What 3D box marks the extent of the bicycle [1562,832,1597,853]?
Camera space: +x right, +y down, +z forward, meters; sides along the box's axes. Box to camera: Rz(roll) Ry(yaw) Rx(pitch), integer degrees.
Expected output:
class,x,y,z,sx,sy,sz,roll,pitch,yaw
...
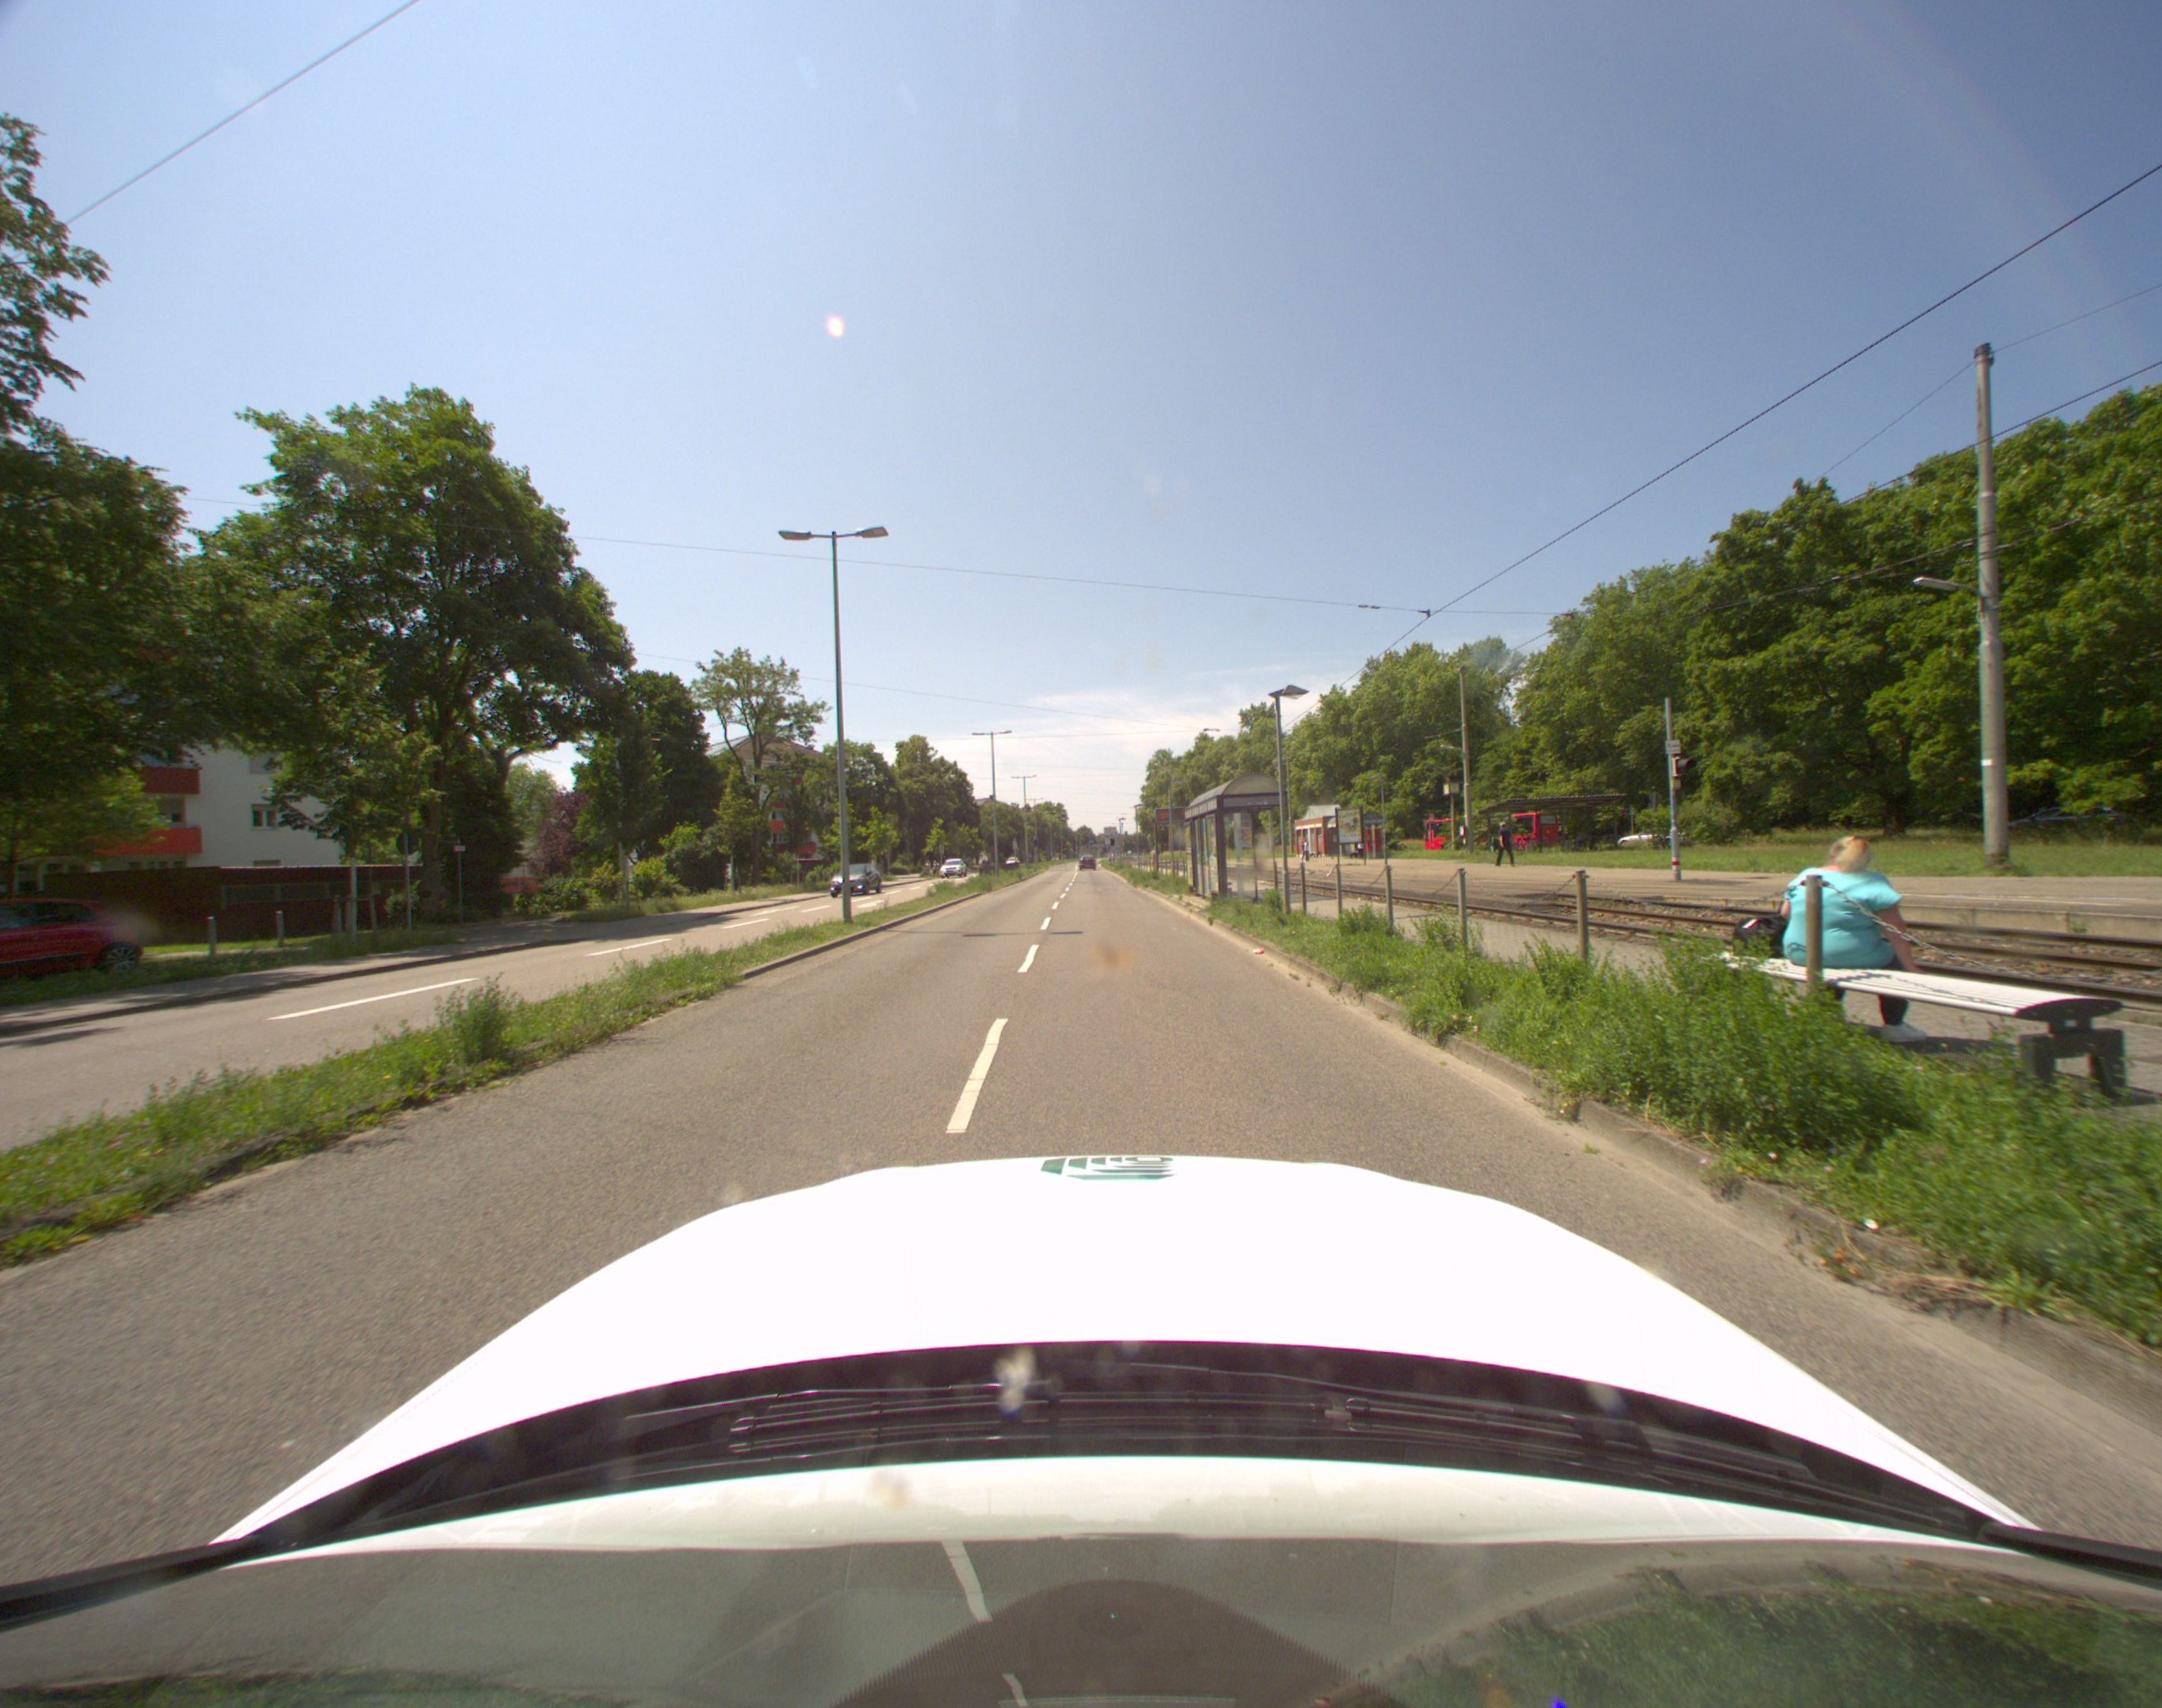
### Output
class,x,y,z,sx,sy,sz,roll,pitch,yaw
bicycle,27.626,-0.653,45.147,0.595,1.087,2.192,-3,2,1

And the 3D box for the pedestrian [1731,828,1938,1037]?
class,x,y,z,sx,sy,sz,roll,pitch,yaw
pedestrian,4.400,0.434,4.797,0.608,1.129,0.620,-1,-1,-3

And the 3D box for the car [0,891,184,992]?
class,x,y,z,sx,sy,sz,roll,pitch,yaw
car,-19.230,1.594,14.454,1.985,1.585,4.003,-3,0,3

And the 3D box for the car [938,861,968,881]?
class,x,y,z,sx,sy,sz,roll,pitch,yaw
car,-11.349,1.501,72.464,1.853,1.758,4.479,-1,-1,0

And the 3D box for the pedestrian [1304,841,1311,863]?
class,x,y,z,sx,sy,sz,roll,pitch,yaw
pedestrian,15.984,-0.141,57.557,0.358,1.597,0.483,-1,-1,3

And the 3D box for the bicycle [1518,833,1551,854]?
class,x,y,z,sx,sy,sz,roll,pitch,yaw
bicycle,25.133,-0.599,45.206,0.595,1.087,2.192,-3,2,1

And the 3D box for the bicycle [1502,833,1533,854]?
class,x,y,z,sx,sy,sz,roll,pitch,yaw
bicycle,24.208,-0.582,45.205,0.595,1.087,2.192,-3,2,1

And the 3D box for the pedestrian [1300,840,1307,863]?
class,x,y,z,sx,sy,sz,roll,pitch,yaw
pedestrian,15.838,-0.173,58.047,0.359,1.646,0.446,-1,-1,3

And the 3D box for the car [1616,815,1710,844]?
class,x,y,z,sx,sy,sz,roll,pitch,yaw
car,38.365,-1.613,53.840,2.001,1.629,4.693,-3,0,-21

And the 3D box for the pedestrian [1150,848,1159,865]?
class,x,y,z,sx,sy,sz,roll,pitch,yaw
pedestrian,7.471,0.249,82.747,0.635,1.759,0.813,-1,-1,-13

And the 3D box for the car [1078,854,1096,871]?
class,x,y,z,sx,sy,sz,roll,pitch,yaw
car,0.633,0.820,79.905,1.697,1.477,3.717,-3,0,1

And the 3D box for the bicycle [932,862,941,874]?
class,x,y,z,sx,sy,sz,roll,pitch,yaw
bicycle,-14.398,1.352,81.139,0.586,1.133,1.615,-3,0,0

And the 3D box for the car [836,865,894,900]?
class,x,y,z,sx,sy,sz,roll,pitch,yaw
car,-10.696,1.381,40.565,1.762,1.554,4.081,-3,-1,-1

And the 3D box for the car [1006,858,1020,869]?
class,x,y,z,sx,sy,sz,roll,pitch,yaw
car,-10.802,1.460,129.226,1.815,1.572,4.346,-3,0,0

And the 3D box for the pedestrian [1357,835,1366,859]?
class,x,y,z,sx,sy,sz,roll,pitch,yaw
pedestrian,18.345,-0.446,53.268,0.358,1.597,0.613,-1,-1,5

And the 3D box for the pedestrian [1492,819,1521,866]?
class,x,y,z,sx,sy,sz,roll,pitch,yaw
pedestrian,16.422,-0.447,31.451,0.703,1.764,0.658,-3,0,2

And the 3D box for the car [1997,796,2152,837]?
class,x,y,z,sx,sy,sz,roll,pitch,yaw
car,44.309,-1.630,36.447,1.888,1.511,3.974,-3,0,-19

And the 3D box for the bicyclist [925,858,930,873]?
class,x,y,z,sx,sy,sz,roll,pitch,yaw
bicyclist,-15.243,1.141,81.014,0.356,1.392,0.441,-1,0,3

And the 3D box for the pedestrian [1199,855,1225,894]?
class,x,y,z,sx,sy,sz,roll,pitch,yaw
pedestrian,3.633,0.571,22.585,0.573,1.040,0.579,-3,0,0

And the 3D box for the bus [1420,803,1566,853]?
class,x,y,z,sx,sy,sz,roll,pitch,yaw
bus,33.708,-1.973,67.621,2.768,3.439,12.363,-1,-1,-19

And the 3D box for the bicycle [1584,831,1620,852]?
class,x,y,z,sx,sy,sz,roll,pitch,yaw
bicycle,28.787,-0.682,45.009,0.595,1.087,2.192,-3,2,1

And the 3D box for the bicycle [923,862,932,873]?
class,x,y,z,sx,sy,sz,roll,pitch,yaw
bicycle,-15.266,1.344,80.909,0.552,1.094,1.380,-1,-1,1

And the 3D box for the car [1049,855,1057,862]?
class,x,y,z,sx,sy,sz,roll,pitch,yaw
car,-6.847,1.065,200.211,1.752,1.543,4.157,-3,0,-2

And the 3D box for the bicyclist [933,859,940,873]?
class,x,y,z,sx,sy,sz,roll,pitch,yaw
bicyclist,-14.391,1.149,81.099,0.543,1.345,0.755,-3,0,-1
